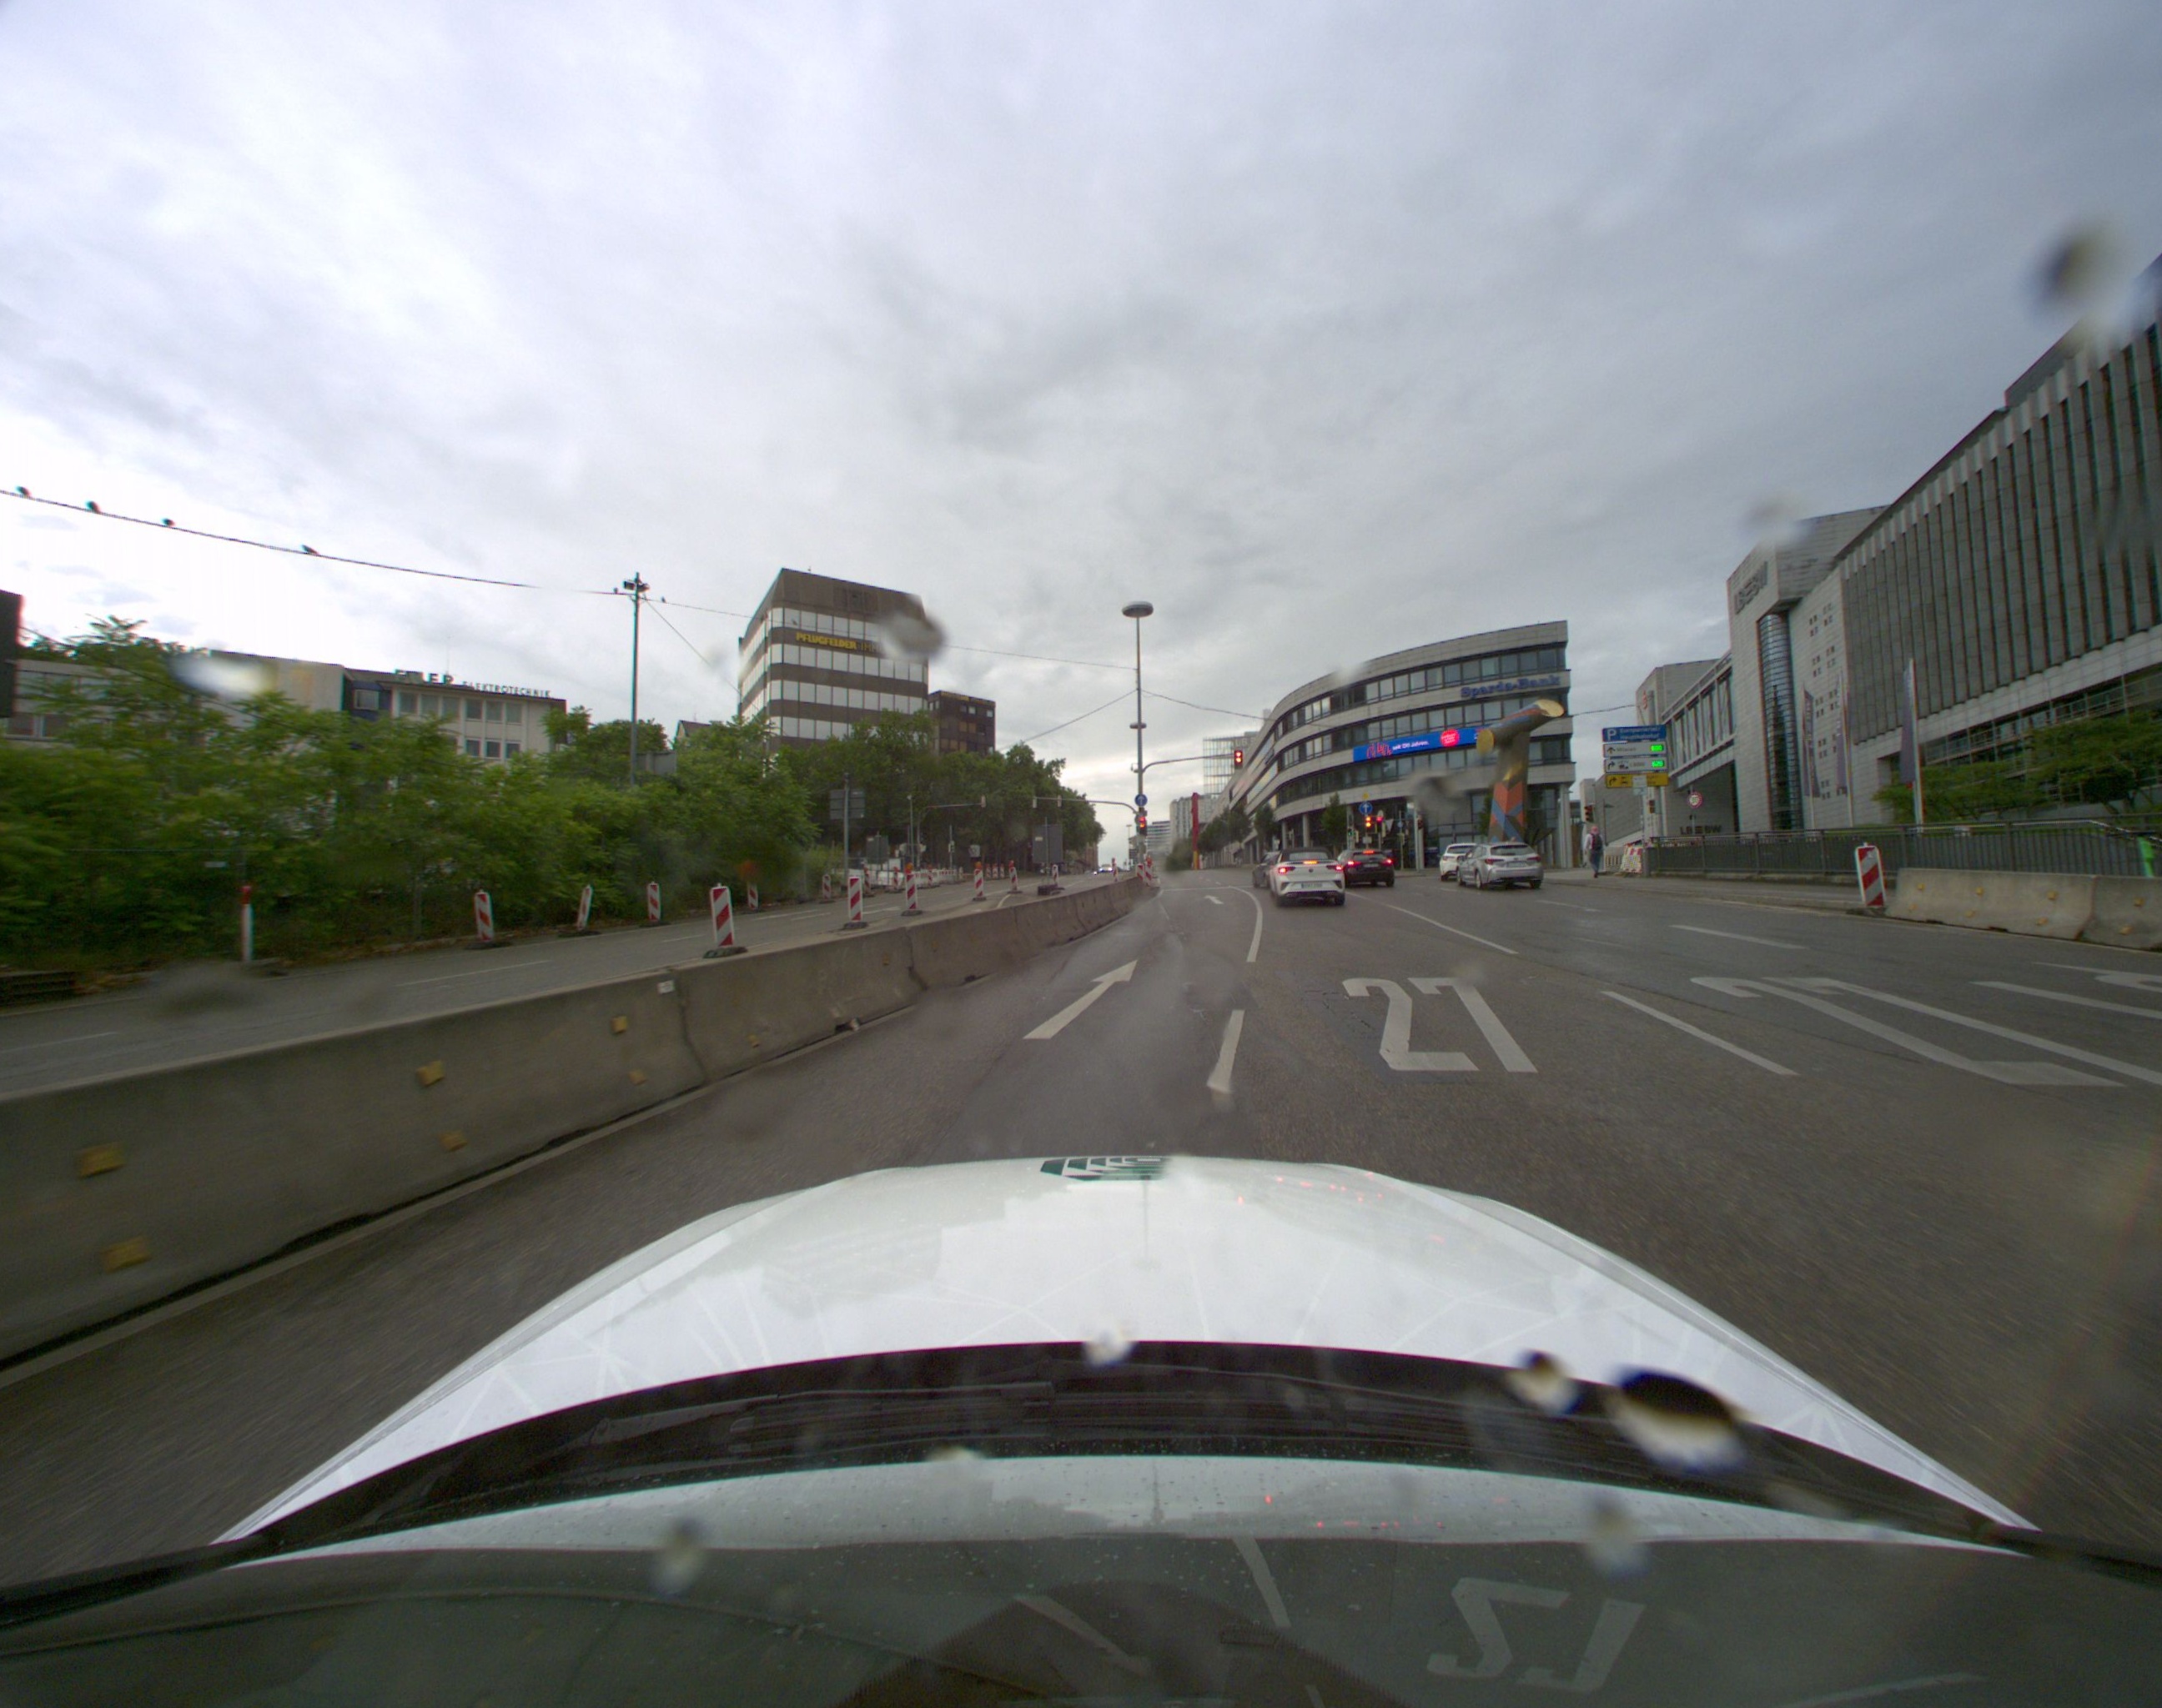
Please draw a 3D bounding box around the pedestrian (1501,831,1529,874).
[{"bbox_3d":[21.401,-0.051,40.144,0.854,2.099,0.899,1,-1,-18],"label":"pedestrian"}]

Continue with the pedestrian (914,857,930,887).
[{"bbox_3d":[-10.163,1.169,52.083,0.757,1.923,0.743,-1,-3,7],"label":"pedestrian"}]

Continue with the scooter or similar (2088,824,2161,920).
[{"bbox_3d":[13.112,0.226,10.192,0.346,1.162,0.576,-2,-2,20],"label":"scooter or similar"}]

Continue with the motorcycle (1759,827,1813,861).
[{"bbox_3d":[29.583,-0.402,34.178,1.720,1.354,0.606,-2,-1,-3],"label":"motorcycle"}]

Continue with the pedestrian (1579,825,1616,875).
[{"bbox_3d":[18.013,-0.134,28.434,0.726,1.711,0.844,-1,-3,4],"label":"pedestrian"}]

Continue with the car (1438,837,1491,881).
[{"bbox_3d":[15.480,0.193,32.883,1.755,1.634,4.607,-2,-1,25],"label":"car"}]

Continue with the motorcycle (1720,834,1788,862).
[{"bbox_3d":[30.462,-0.274,36.866,2.557,1.081,0.634,-4,-1,-3],"label":"motorcycle"}]

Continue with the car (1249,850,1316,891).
[{"bbox_3d":[7.644,0.609,31.263,1.733,1.443,4.002,-1,-1,3],"label":"car"}]

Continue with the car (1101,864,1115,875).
[{"bbox_3d":[4.049,2.309,122.198,1.753,1.460,4.365,-3,0,4],"label":"car"}]

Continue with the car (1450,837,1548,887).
[{"bbox_3d":[13.259,0.291,26.118,1.689,1.451,4.631,-1,-1,13],"label":"car"}]

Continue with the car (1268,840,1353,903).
[{"bbox_3d":[6.276,0.462,22.686,1.951,1.549,4.232,-2,0,11],"label":"car"}]

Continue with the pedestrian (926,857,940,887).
[{"bbox_3d":[-9.430,1.163,52.005,0.668,1.902,0.777,-1,-3,7],"label":"pedestrian"}]

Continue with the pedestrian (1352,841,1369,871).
[{"bbox_3d":[18.315,0.148,53.356,0.832,1.905,0.866,-3,-3,31],"label":"pedestrian"}]

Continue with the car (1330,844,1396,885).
[{"bbox_3d":[10.475,0.420,30.540,1.744,1.407,4.239,0,-1,11],"label":"car"}]
